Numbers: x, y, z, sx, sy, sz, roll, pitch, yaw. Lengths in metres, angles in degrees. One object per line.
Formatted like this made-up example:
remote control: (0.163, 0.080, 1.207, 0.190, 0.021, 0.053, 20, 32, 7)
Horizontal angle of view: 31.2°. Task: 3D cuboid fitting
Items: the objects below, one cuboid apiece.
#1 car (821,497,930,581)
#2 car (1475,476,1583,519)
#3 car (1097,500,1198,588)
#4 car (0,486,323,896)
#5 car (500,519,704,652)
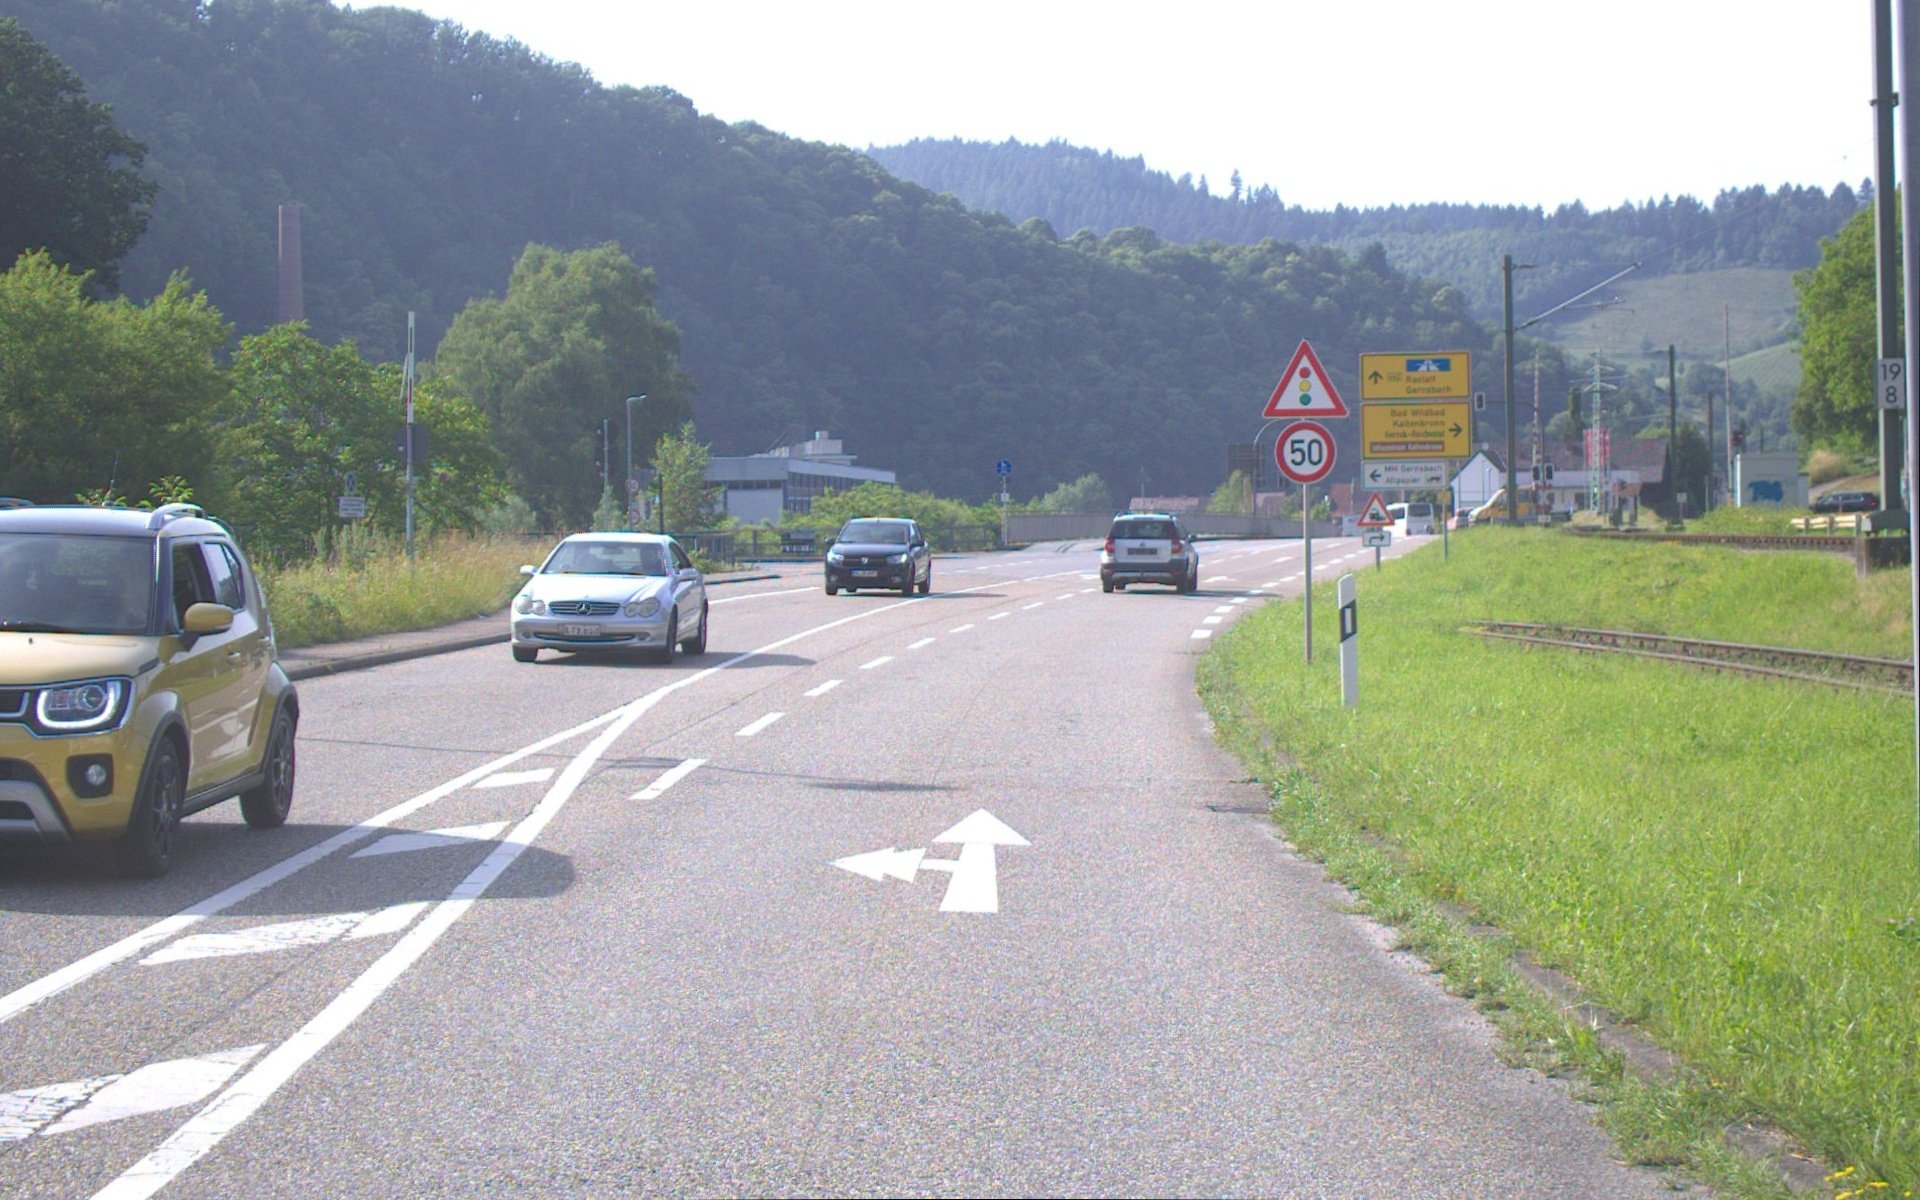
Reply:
car: (-1.637, -1.224, 67.963, 1.847, 1.579, 4.316, 1, 2, 2)
car: (29.741, -5.338, 179.840, 5.279, 2.007, 2.000, -2, 1, 1)
car: (3.910, -1.169, 72.138, 1.994, 1.717, 3.990, -2, 1, 2)
car: (-4.146, 0.308, 15.565, 1.724, 1.619, 3.796, 1, 1, 1)
car: (-3.932, -0.198, 38.442, 1.778, 1.343, 4.511, 2, 1, 0)
